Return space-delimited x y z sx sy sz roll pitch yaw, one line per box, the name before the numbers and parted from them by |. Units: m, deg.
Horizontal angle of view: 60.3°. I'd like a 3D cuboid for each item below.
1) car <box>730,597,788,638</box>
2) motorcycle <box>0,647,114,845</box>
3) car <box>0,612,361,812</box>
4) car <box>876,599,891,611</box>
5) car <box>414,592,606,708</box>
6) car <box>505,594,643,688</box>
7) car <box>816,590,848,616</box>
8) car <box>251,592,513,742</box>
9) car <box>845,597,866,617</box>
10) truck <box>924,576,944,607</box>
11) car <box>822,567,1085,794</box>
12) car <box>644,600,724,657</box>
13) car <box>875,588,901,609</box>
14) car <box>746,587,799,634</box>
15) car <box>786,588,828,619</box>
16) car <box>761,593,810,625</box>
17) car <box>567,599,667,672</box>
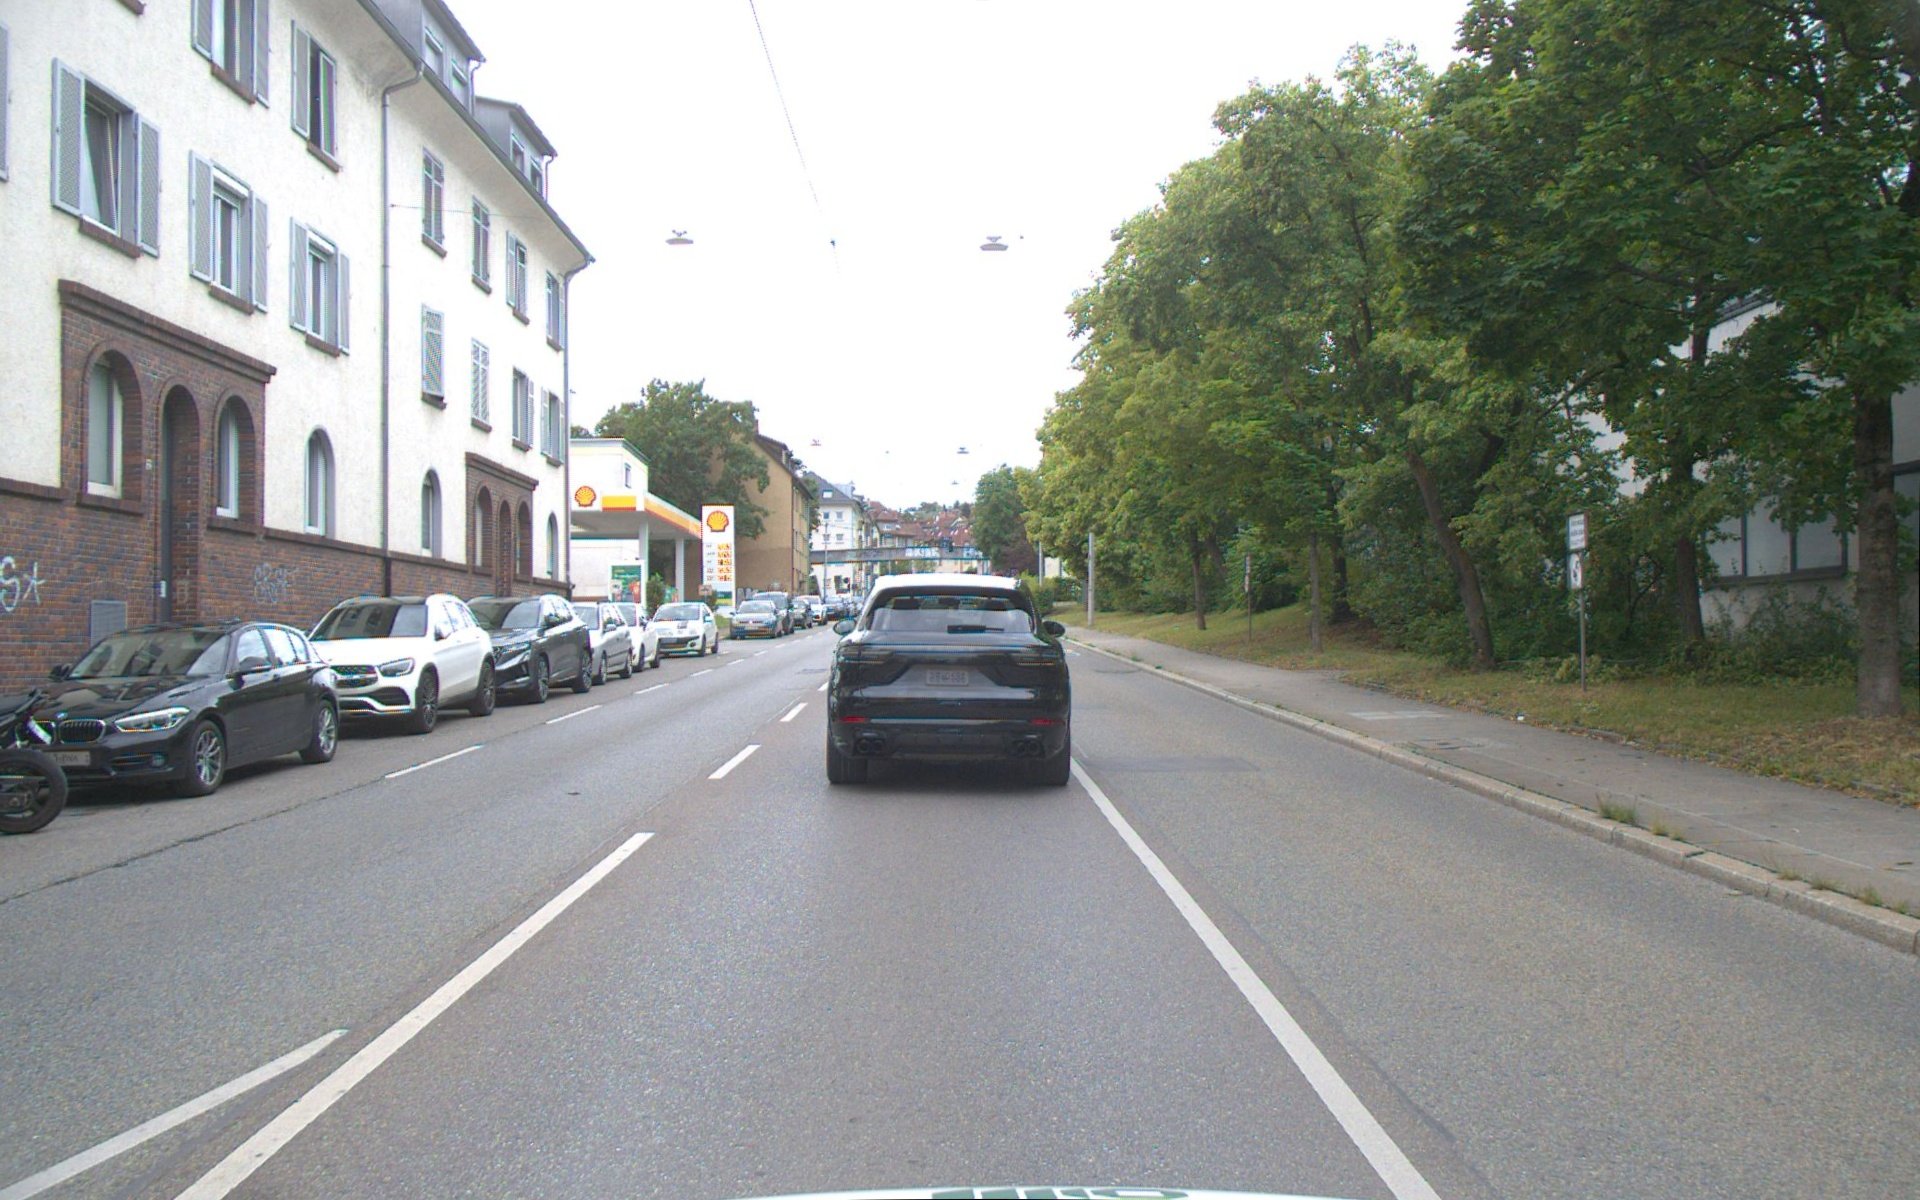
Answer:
car | -7.733 0.642 64.050 1.754 1.475 4.217 -2 0 -1
motorcycle | -6.944 1.021 11.189 2.009 1.256 0.803 -3 1 -19
car | -6.987 0.886 14.909 1.692 1.454 4.191 -1 0 -1
car | -10.151 0.684 220.024 1.729 1.534 4.000 -1 0 0
car | -7.041 0.720 26.349 1.691 1.627 4.502 -1 0 1
car | -7.306 0.734 31.677 1.692 1.585 4.080 -3 0 -1
car | -8.664 0.185 112.120 1.746 1.637 4.264 -3 0 0
car | -7.224 0.751 21.211 1.808 1.649 4.642 -1 0 -2
car | -9.004 0.591 142.393 1.711 1.596 3.906 -2 0 -3
truck | -2.967 -0.917 189.018 2.220 3.484 9.876 -1 0 -1
car | -0.059 0.571 14.296 1.953 1.691 4.000 0 1 -1
car | -7.606 0.753 45.834 1.586 1.450 3.665 -1 0 0
car | -5.436 -0.105 125.482 1.761 1.551 3.999 -2 0 -1
car | -7.881 0.437 69.909 1.814 1.867 4.700 -2 0 -2
car | -8.353 0.164 90.553 1.876 1.605 4.699 -1 0 0
car | -8.505 0.404 80.857 1.760 1.456 4.744 -2 0 1
car | -7.550 0.745 36.669 1.516 1.501 3.603 -1 0 -1
